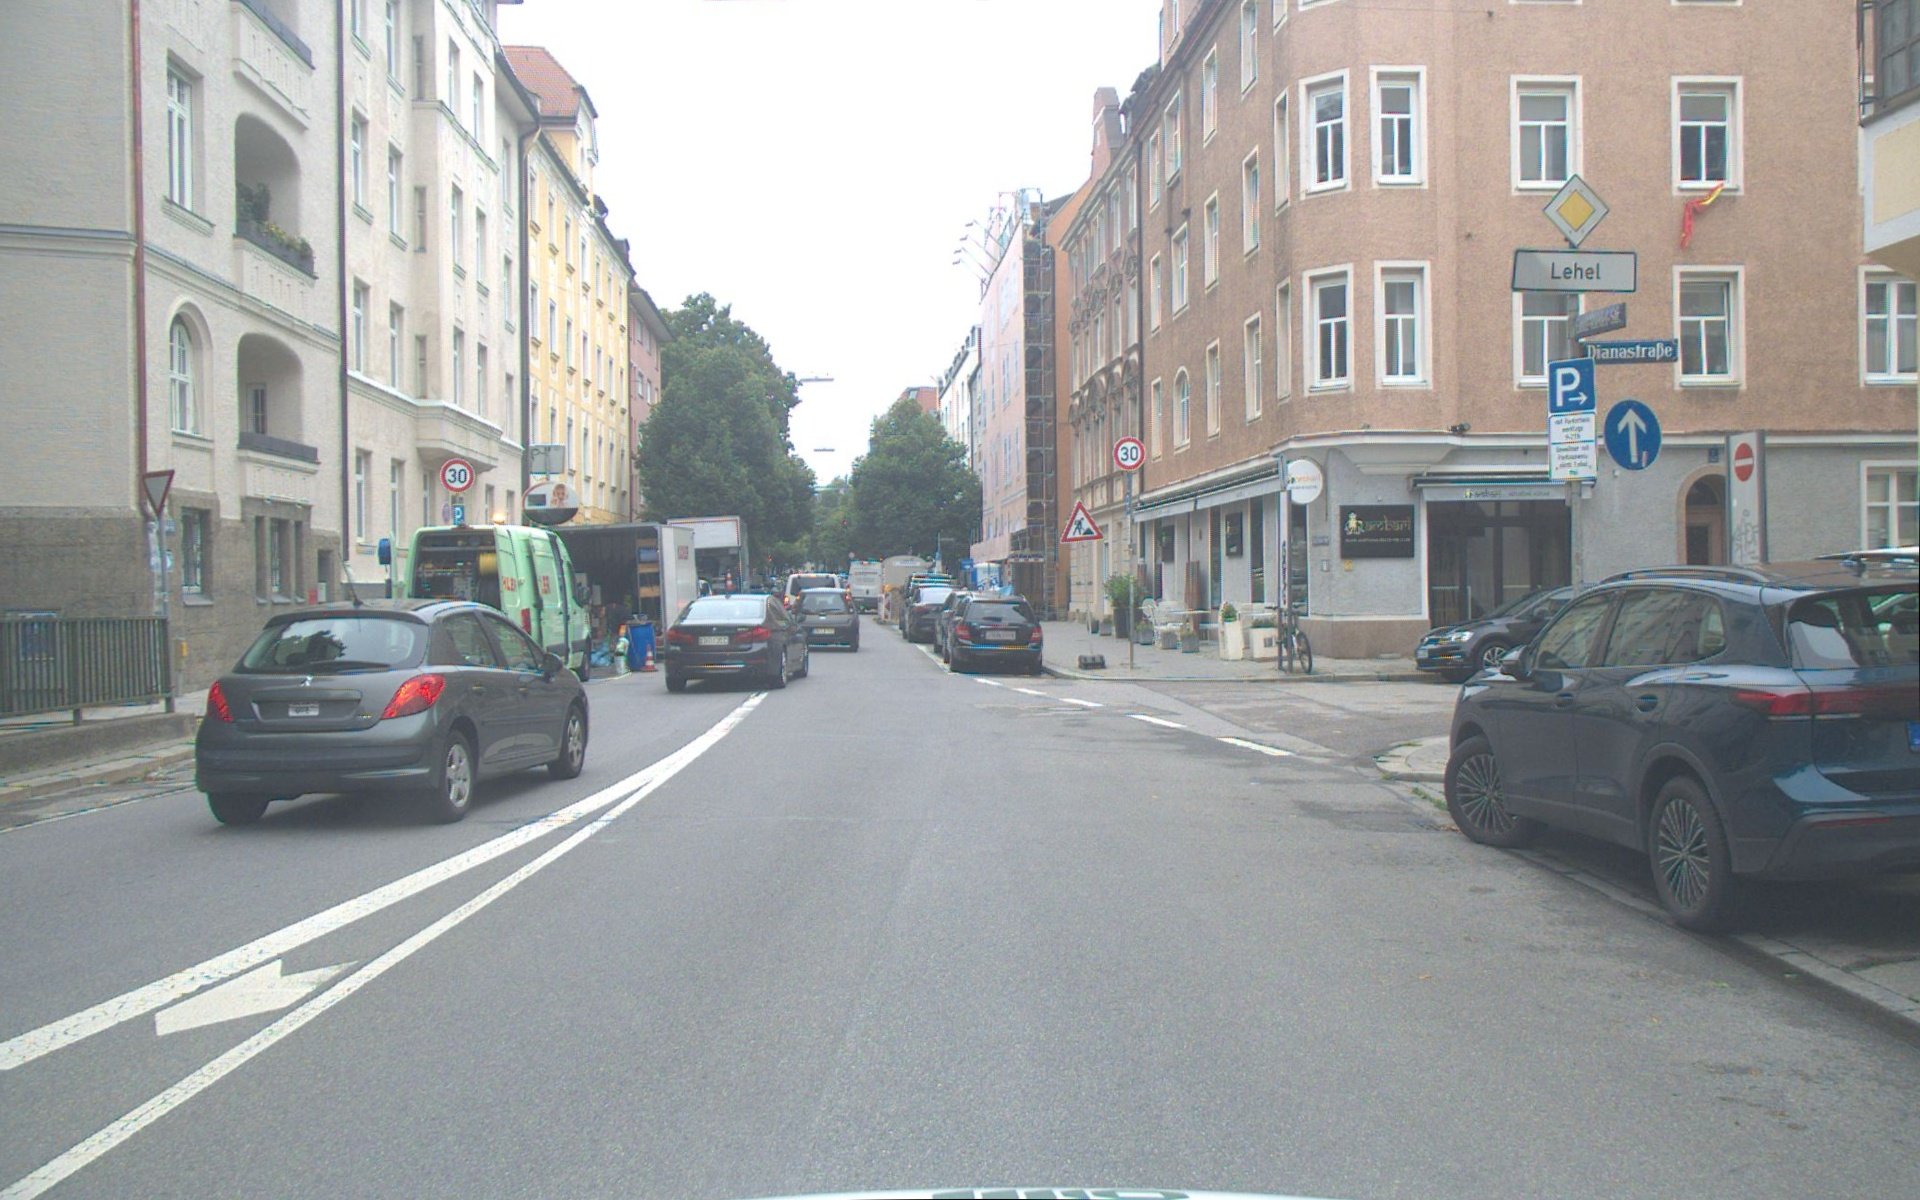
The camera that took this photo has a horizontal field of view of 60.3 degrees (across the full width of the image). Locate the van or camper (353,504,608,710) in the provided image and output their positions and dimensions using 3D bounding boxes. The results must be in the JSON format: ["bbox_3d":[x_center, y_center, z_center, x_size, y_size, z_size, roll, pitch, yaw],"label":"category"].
[{"bbox_3d":[-7.468,0.026,26.601,2.549,2.889,6.182,-1,1,-3],"label":"van or camper"}]

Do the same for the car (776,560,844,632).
[{"bbox_3d":[-4.644,-0.171,51.761,1.950,2.111,4.138,-1,1,-3],"label":"car"}]

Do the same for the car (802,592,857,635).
[{"bbox_3d":[-4.867,0.470,62.085,1.950,1.454,4.138,-1,1,-3],"label":"car"}]

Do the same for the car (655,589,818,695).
[{"bbox_3d":[-3.513,0.602,26.874,1.949,1.454,4.906,-1,1,0],"label":"car"}]

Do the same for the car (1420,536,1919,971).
[{"bbox_3d":[4.083,0.575,8.876,1.782,1.708,4.508,-2,0,-2],"label":"car"}]

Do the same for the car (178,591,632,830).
[{"bbox_3d":[-3.927,0.691,12.492,1.721,1.486,4.077,-1,0,5],"label":"car"}]

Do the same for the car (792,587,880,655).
[{"bbox_3d":[-2.915,0.454,39.513,1.950,1.454,4.138,-1,1,-3],"label":"car"}]

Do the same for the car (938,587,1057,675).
[{"bbox_3d":[0.658,0.548,31.901,1.808,1.454,4.180,2,1,-5],"label":"car"}]

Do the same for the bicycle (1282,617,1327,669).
[{"bbox_3d":[5.719,0.698,27.528,0.447,0.819,1.326,0,0,-1],"label":"bicycle"}]

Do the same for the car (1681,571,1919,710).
[{"bbox_3d":[10.902,0.438,19.627,3.955,1.482,1.746,-1,2,-1],"label":"car"}]

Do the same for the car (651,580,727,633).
[{"bbox_3d":[-8.569,0.183,52.595,1.950,1.639,4.138,0,0,-3],"label":"car"}]

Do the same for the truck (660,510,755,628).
[{"bbox_3d":[-9.062,-1.100,60.021,2.954,4.021,6.988,0,0,-5],"label":"truck"}]

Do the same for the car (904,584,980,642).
[{"bbox_3d":[-0.554,0.335,46.586,1.808,1.454,4.302,2,1,-5],"label":"car"}]

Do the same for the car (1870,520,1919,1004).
[{"bbox_3d":[4.215,0.555,3.709,1.720,1.708,4.706,-2,0,0],"label":"car"}]

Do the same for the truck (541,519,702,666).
[{"bbox_3d":[-7.386,-0.232,36.989,2.719,2.923,7.194,-1,1,-5],"label":"truck"}]

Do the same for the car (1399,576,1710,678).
[{"bbox_3d":[9.104,0.419,25.560,4.087,1.454,1.924,-1,-2,-4],"label":"car"}]

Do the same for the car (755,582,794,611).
[{"bbox_3d":[-9.724,-0.173,86.779,1.901,1.473,3.863,0,0,-4],"label":"car"}]

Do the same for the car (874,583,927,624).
[{"bbox_3d":[-2.323,0.103,63.980,1.950,1.454,4.138,-1,1,-3],"label":"car"}]

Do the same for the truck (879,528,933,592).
[{"bbox_3d":[-2.660,-1.893,80.233,2.443,3.025,5.323,0,0,-4],"label":"truck"}]

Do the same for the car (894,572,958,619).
[{"bbox_3d":[-1.152,-0.183,54.350,1.950,1.454,4.138,-1,1,-3],"label":"car"}]

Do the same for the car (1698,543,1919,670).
[{"bbox_3d":[14.702,0.104,26.259,5.026,1.886,2.098,-1,-2,-4],"label":"car"}]

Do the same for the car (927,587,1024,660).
[{"bbox_3d":[0.295,0.503,37.899,1.808,1.454,4.136,2,1,-5],"label":"car"}]

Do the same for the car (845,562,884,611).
[{"bbox_3d":[-5.009,-0.720,87.129,1.900,2.523,4.781,0,0,-2],"label":"car"}]
